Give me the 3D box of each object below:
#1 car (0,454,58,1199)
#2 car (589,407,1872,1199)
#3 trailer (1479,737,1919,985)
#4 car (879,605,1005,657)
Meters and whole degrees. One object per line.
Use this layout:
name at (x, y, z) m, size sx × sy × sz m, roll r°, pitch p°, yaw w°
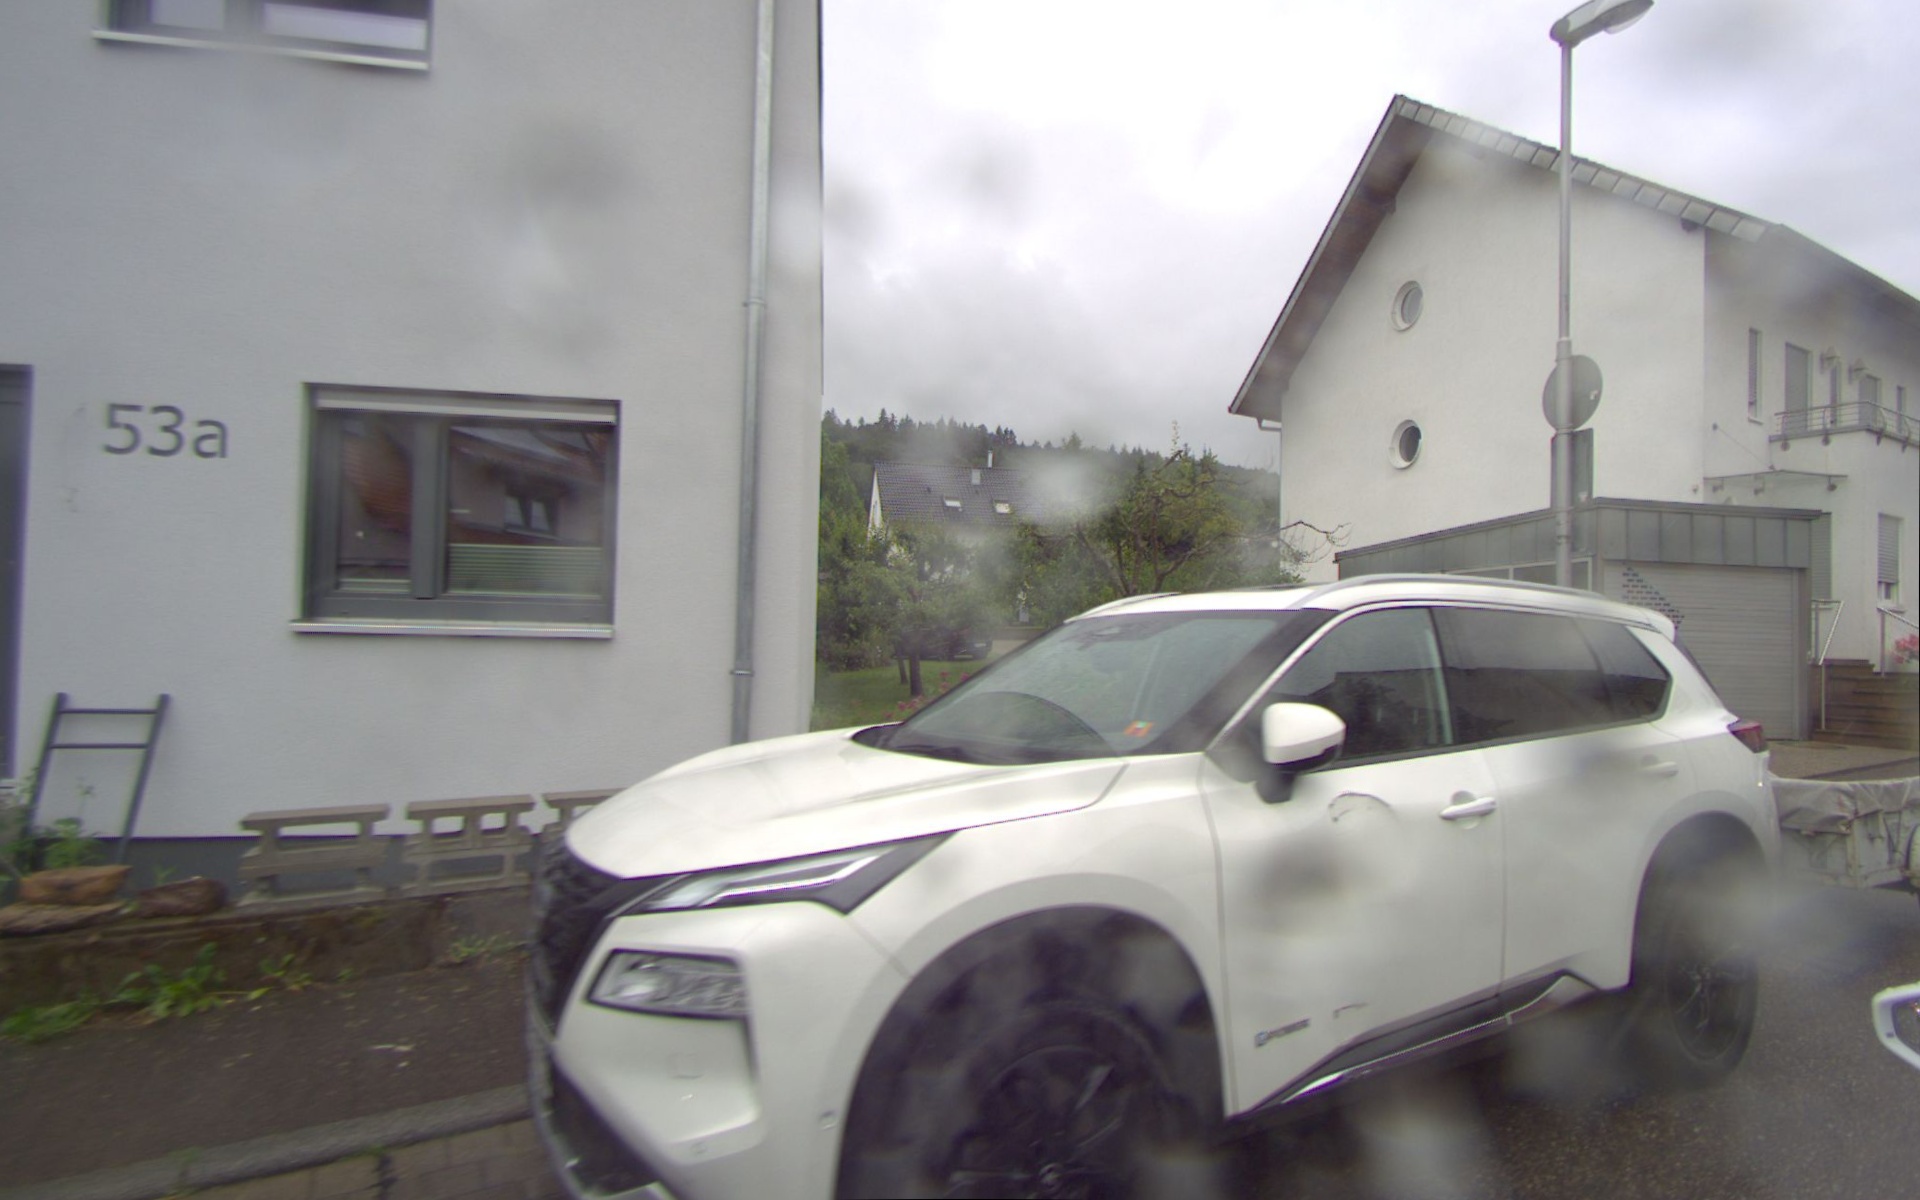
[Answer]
car at (-3.530, 0.543, 0.726) m, size 3.973 × 1.802 × 1.802 m, roll 1°, pitch -1°, yaw -32°
car at (1.149, 0.634, 3.535) m, size 4.365 × 1.657 × 1.741 m, roll 3°, pitch -4°, yaw -29°
trailer at (4.279, 1.245, 5.423) m, size 2.646 × 0.839 × 1.476 m, roll 3°, pitch -4°, yaw -31°
car at (-0.617, 0.905, 30.886) m, size 1.981 × 1.439 × 3.960 m, roll 2°, pitch 0°, yaw -35°
